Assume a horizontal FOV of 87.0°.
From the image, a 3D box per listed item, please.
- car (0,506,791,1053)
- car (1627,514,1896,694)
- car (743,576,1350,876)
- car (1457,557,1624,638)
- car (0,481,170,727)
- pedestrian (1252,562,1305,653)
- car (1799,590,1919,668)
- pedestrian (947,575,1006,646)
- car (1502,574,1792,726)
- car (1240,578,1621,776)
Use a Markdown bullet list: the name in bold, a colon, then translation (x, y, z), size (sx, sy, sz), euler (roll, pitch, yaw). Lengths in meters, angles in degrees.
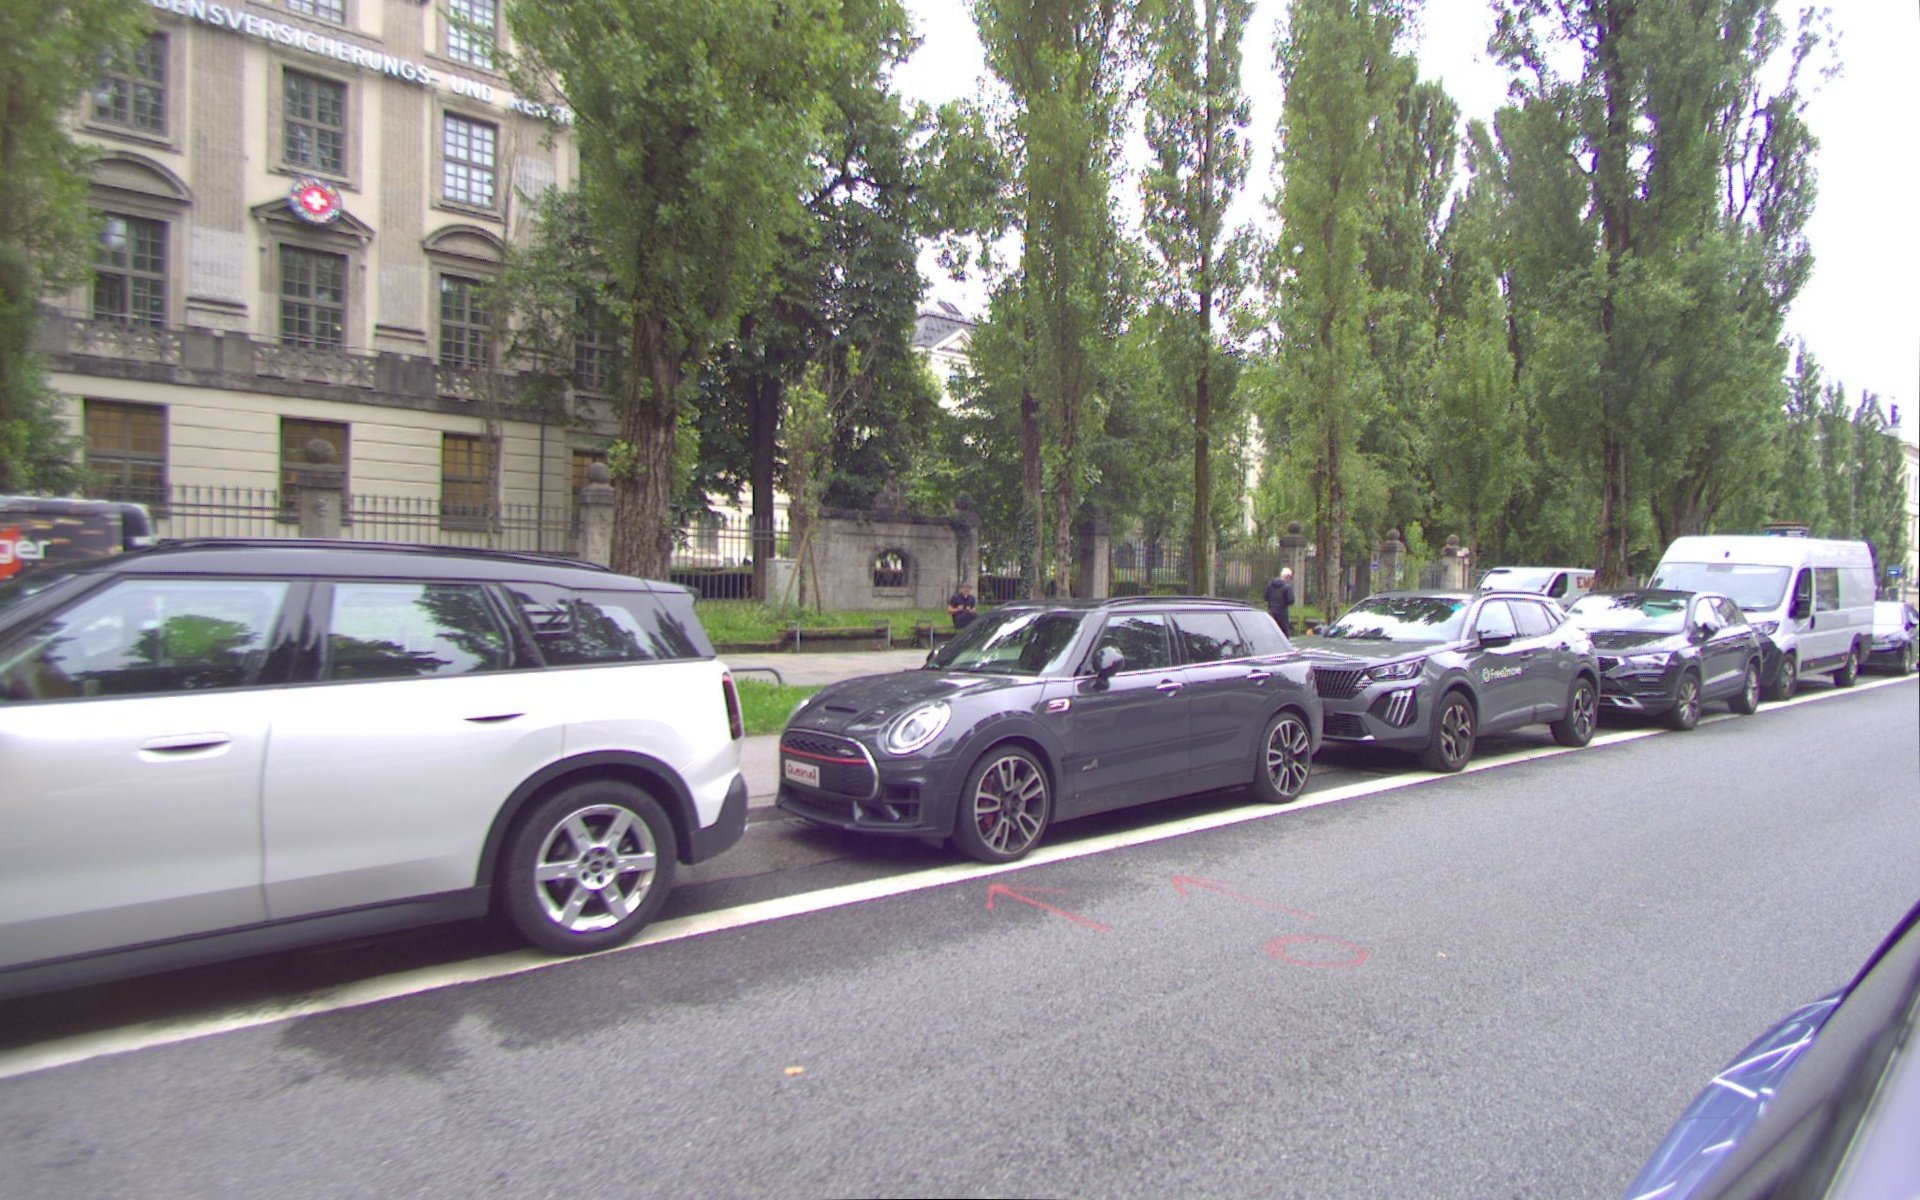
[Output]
- **car**: translation (-2.905, 0.525, 4.028), size (4.070, 1.602, 1.785), euler (0, 0, -38)
- **car**: translation (13.493, 0.045, 16.853), size (6.168, 2.510, 2.080), euler (0, 1, -38)
- **car**: translation (0.762, 0.613, 6.855), size (4.072, 1.464, 1.637), euler (0, 0, -38)
- **car**: translation (15.441, -0.094, 26.818), size (4.988, 1.970, 2.000), euler (0, 2, -37)
- **car**: translation (-9.440, 0.009, 7.822), size (5.227, 1.949, 1.999), euler (0, 1, -38)
- **pedestrian**: translation (6.052, 0.129, 19.240), size (0.621, 1.680, 0.717), euler (1, 1, -38)
- **car**: translation (19.066, 0.554, 20.973), size (3.926, 1.468, 1.758), euler (0, -1, -38)
- **pedestrian**: translation (0.309, 0.190, 18.994), size (0.659, 1.259, 0.882), euler (1, 3, -37)
- **car**: translation (8.719, 0.507, 12.732), size (4.145, 1.610, 1.826), euler (0, 1, -38)
- **car**: translation (4.617, 0.578, 9.693), size (4.038, 1.522, 1.656), euler (0, 1, -38)
